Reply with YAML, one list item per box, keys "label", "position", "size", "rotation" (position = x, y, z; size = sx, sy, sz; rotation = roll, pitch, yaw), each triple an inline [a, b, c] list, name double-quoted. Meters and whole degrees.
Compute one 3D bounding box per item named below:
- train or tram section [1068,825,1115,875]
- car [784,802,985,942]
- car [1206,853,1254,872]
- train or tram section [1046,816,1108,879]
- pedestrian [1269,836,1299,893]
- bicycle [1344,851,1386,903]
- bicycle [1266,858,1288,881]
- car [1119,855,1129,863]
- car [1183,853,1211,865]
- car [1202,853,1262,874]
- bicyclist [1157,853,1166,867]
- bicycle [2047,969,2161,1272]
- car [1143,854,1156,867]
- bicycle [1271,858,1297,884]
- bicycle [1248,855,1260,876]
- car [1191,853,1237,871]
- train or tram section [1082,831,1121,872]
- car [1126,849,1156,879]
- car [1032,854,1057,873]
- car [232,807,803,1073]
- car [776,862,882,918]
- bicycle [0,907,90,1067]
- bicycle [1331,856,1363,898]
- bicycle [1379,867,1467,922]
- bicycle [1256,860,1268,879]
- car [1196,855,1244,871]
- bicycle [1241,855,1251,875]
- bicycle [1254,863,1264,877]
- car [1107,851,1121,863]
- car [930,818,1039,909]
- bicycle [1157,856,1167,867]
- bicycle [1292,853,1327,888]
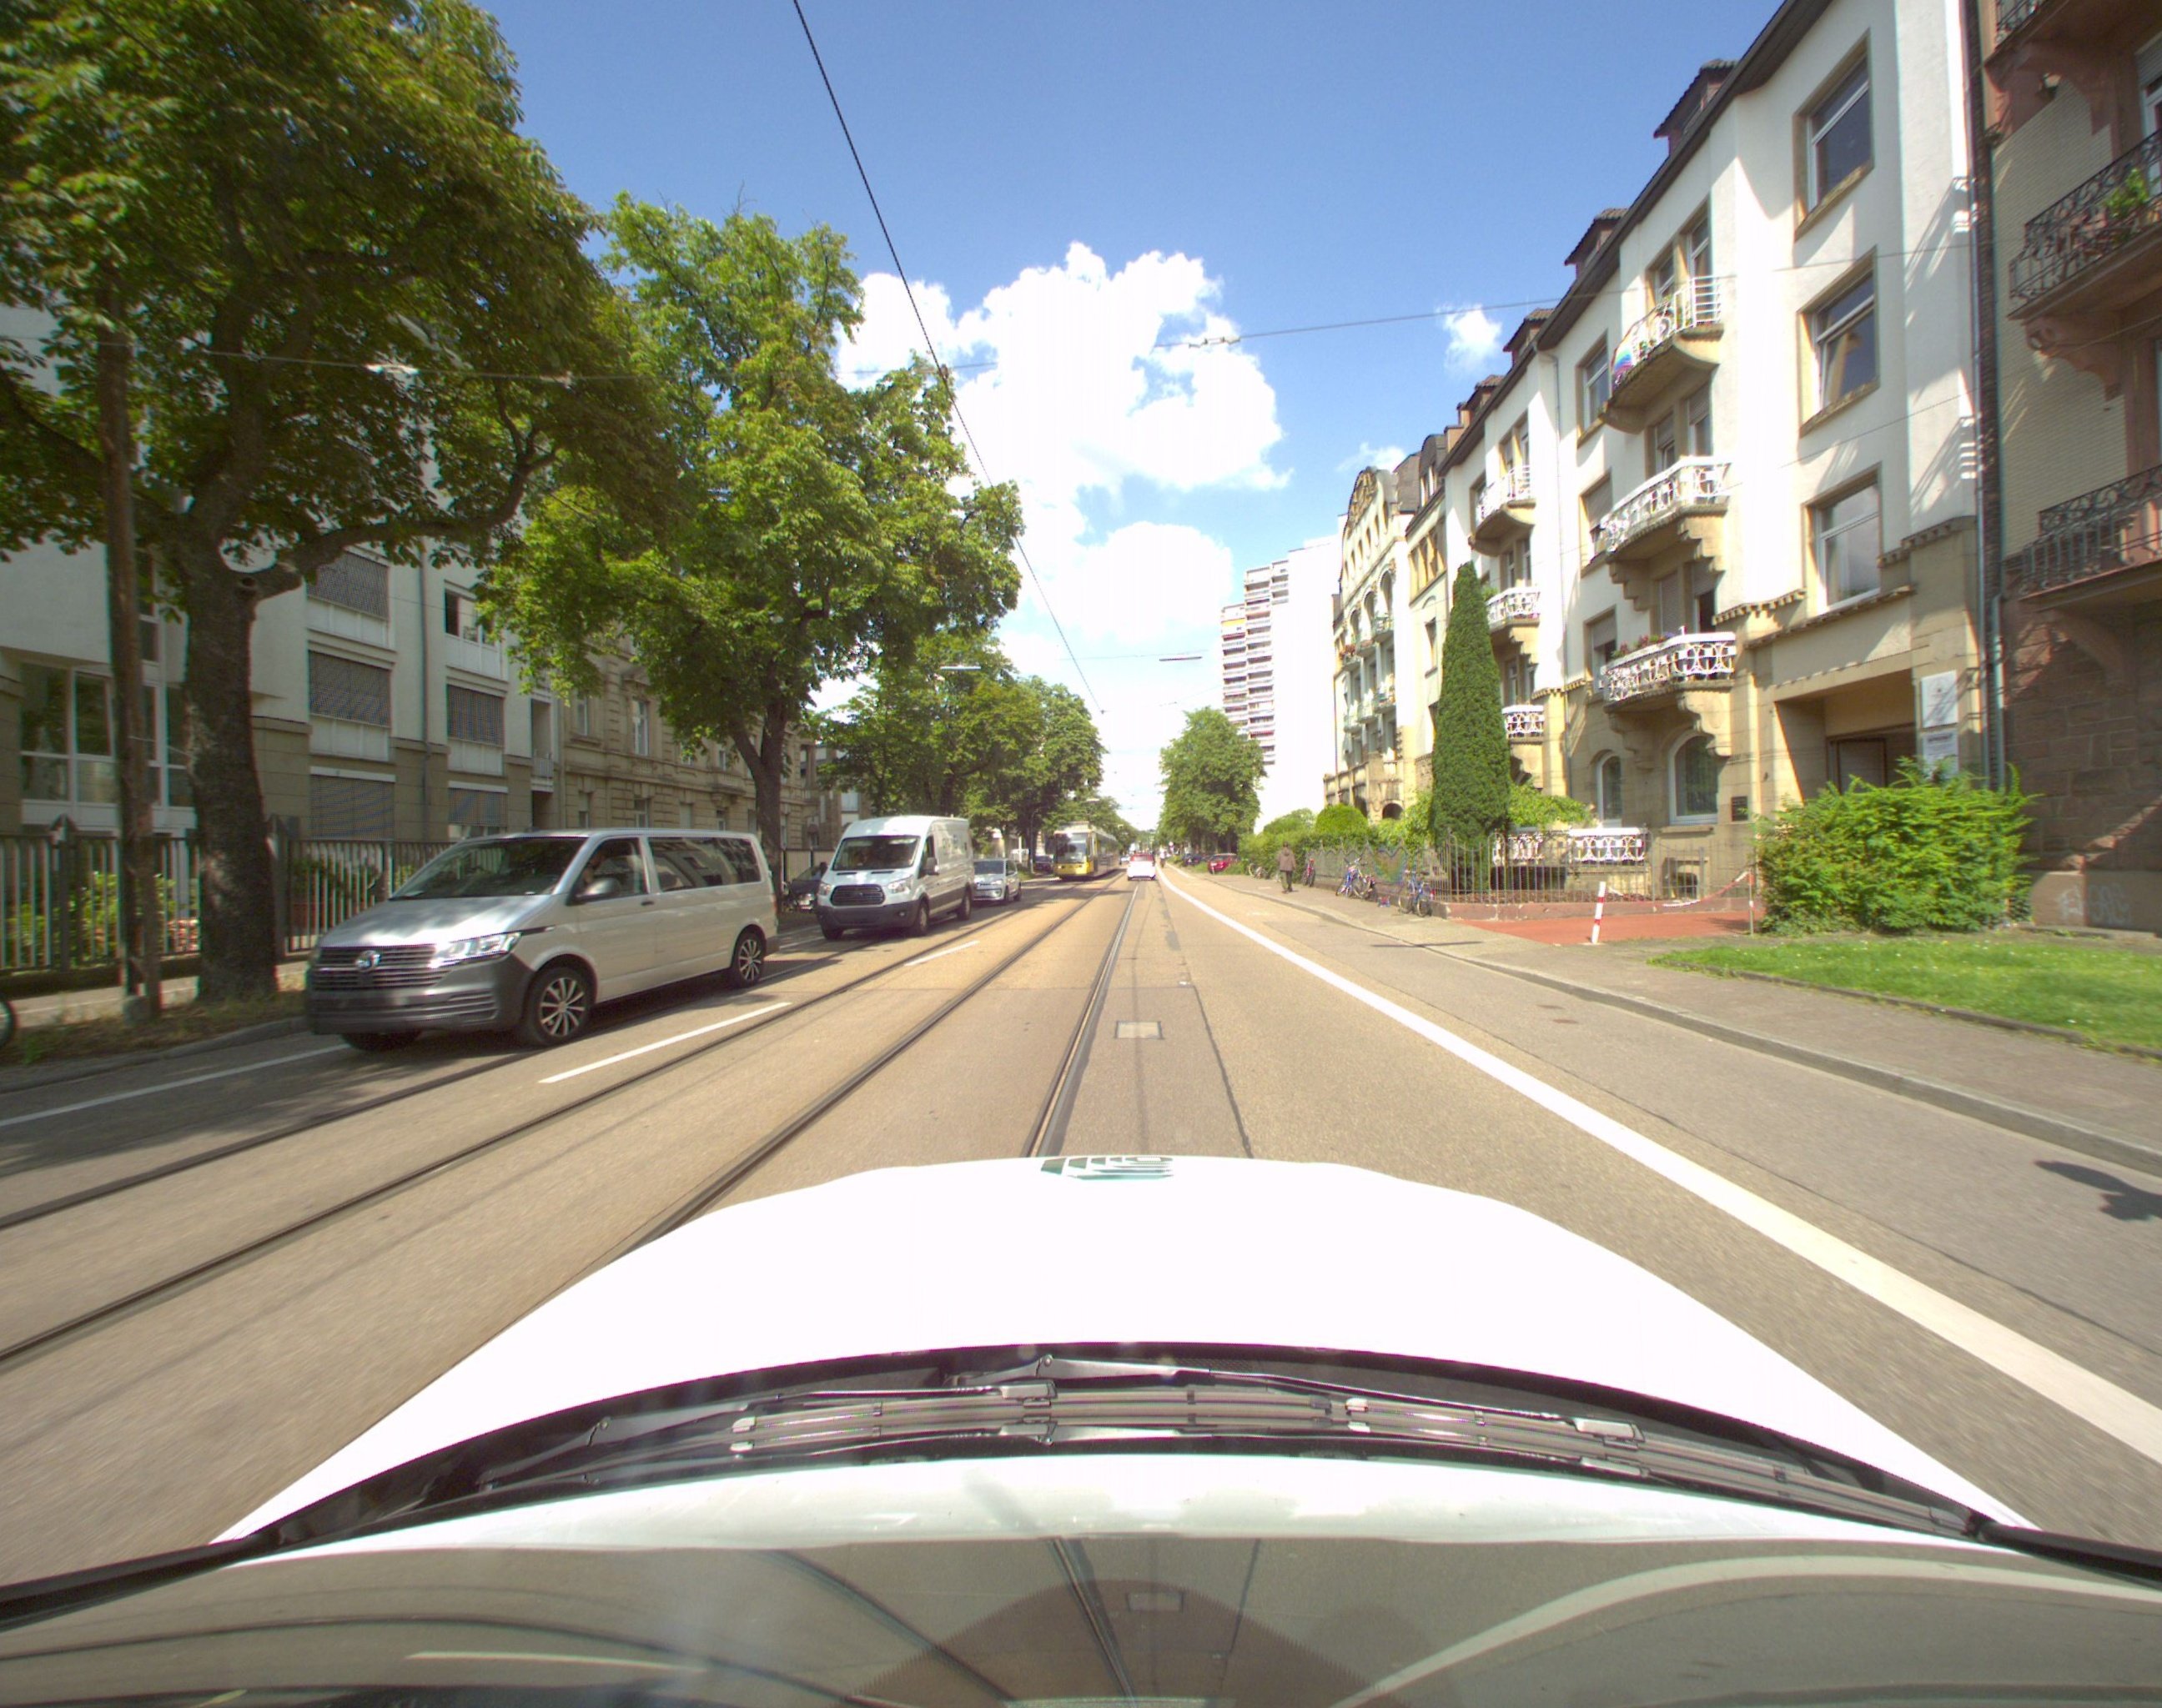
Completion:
- label: "train or tram section"
  position: [0.985, -0.227, 63.728]
  size: [2.640, 3.389, 11.488]
  rotation: [-3, -1, 5]
- label: "car"
  position: [-3.976, 0.302, 18.048]
  size: [2.305, 2.507, 6.373]
  rotation: [-1, 1, 5]
- label: "car"
  position: [11.835, 0.643, 64.575]
  size: [4.021, 1.461, 1.517]
  rotation: [0, 0, -41]
- label: "train or tram section"
  position: [-0.045, -0.308, 51.891]
  size: [2.640, 3.436, 12.331]
  rotation: [-3, -1, 5]
- label: "pedestrian"
  position: [6.677, 0.340, 26.807]
  size: [0.785, 1.861, 0.579]
  rotation: [-1, -1, -2]
- label: "bicycle"
  position: [7.385, 0.575, 21.237]
  size: [0.449, 1.261, 1.845]
  rotation: [-4, 0, 2]
- label: "bicycle"
  position: [8.642, 0.673, 36.027]
  size: [0.609, 0.989, 1.874]
  rotation: [-3, -1, 4]
- label: "car"
  position: [8.224, 0.896, 154.786]
  size: [1.765, 1.416, 3.856]
  rotation: [-4, -1, 4]
- label: "car"
  position: [15.740, 0.668, 110.449]
  size: [4.021, 1.486, 1.597]
  rotation: [-2, 0, -41]
- label: "car"
  position: [10.787, 0.664, 58.061]
  size: [4.180, 1.423, 1.845]
  rotation: [-1, 0, -38]
- label: "bicyclist"
  position: [8.726, 0.680, 87.881]
  size: [0.884, 1.529, 1.088]
  rotation: [0, -1, 11]
- label: "bicycle"
  position: [4.142, 0.949, 2.310]
  size: [0.613, 1.045, 1.838]
  rotation: [-4, -3, 4]
- label: "car"
  position: [9.010, 0.861, 107.462]
  size: [1.658, 1.624, 3.625]
  rotation: [-2, 0, 4]
- label: "bicycle"
  position: [8.369, 0.680, 33.637]
  size: [0.608, 0.996, 2.365]
  rotation: [-4, -1, 4]
- label: "bicycle"
  position: [9.526, 0.612, 44.825]
  size: [0.278, 1.109, 2.013]
  rotation: [-4, -1, 5]
- label: "car"
  position: [12.153, 0.692, 74.242]
  size: [4.018, 1.575, 1.884]
  rotation: [1, 0, -37]
- label: "train or tram section"
  position: [2.089, -0.122, 76.403]
  size: [2.640, 3.356, 14.127]
  rotation: [-3, -1, 5]
- label: "car"
  position: [3.515, 0.568, 47.245]
  size: [1.657, 1.624, 3.626]
  rotation: [1, 0, 6]
- label: "car"
  position: [-3.359, 0.856, 75.982]
  size: [1.742, 1.665, 4.725]
  rotation: [1, 0, 4]
- label: "car"
  position: [-5.160, 0.658, 8.700]
  size: [1.975, 1.963, 5.190]
  rotation: [-2, 0, 7]
- label: "car"
  position: [-7.716, 1.035, 25.355]
  size: [1.618, 1.472, 4.211]
  rotation: [1, 1, 6]
- label: "bicycle"
  position: [-9.908, 1.144, 6.730]
  size: [2.066, 1.309, 0.614]
  rotation: [1, -1, -37]
- label: "bicycle"
  position: [7.718, 0.646, 23.684]
  size: [0.449, 1.122, 1.847]
  rotation: [-4, 0, 6]
- label: "bicycle"
  position: [7.251, 0.815, 17.469]
  size: [0.597, 0.961, 3.067]
  rotation: [-5, 0, 2]
- label: "bicycle"
  position: [9.197, 0.786, 41.369]
  size: [0.272, 0.907, 1.670]
  rotation: [-4, 1, 5]
- label: "car"
  position: [12.153, 0.794, 71.293]
  size: [4.197, 1.349, 1.883]
  rotation: [1, 0, -40]
- label: "bicycle"
  position: [9.808, 0.639, 48.336]
  size: [0.278, 1.109, 2.013]
  rotation: [-4, -1, 5]
- label: "bicycle"
  position: [9.376, 0.824, 42.915]
  size: [0.278, 0.677, 1.561]
  rotation: [-4, -1, 5]
- label: "car"
  position: [4.920, 0.384, 121.021]
  size: [1.817, 1.727, 4.396]
  rotation: [1, 0, 4]
- label: "car"
  position: [-2.904, 0.275, 26.188]
  size: [2.306, 2.507, 6.369]
  rotation: [-1, 0, 3]
- label: "bicycle"
  position: [8.707, 0.817, 87.708]
  size: [0.869, 1.126, 2.142]
  rotation: [0, 0, 11]
- label: "bicycle"
  position: [8.419, 0.596, 30.152]
  size: [0.737, 1.231, 2.519]
  rotation: [-1, -1, 4]
